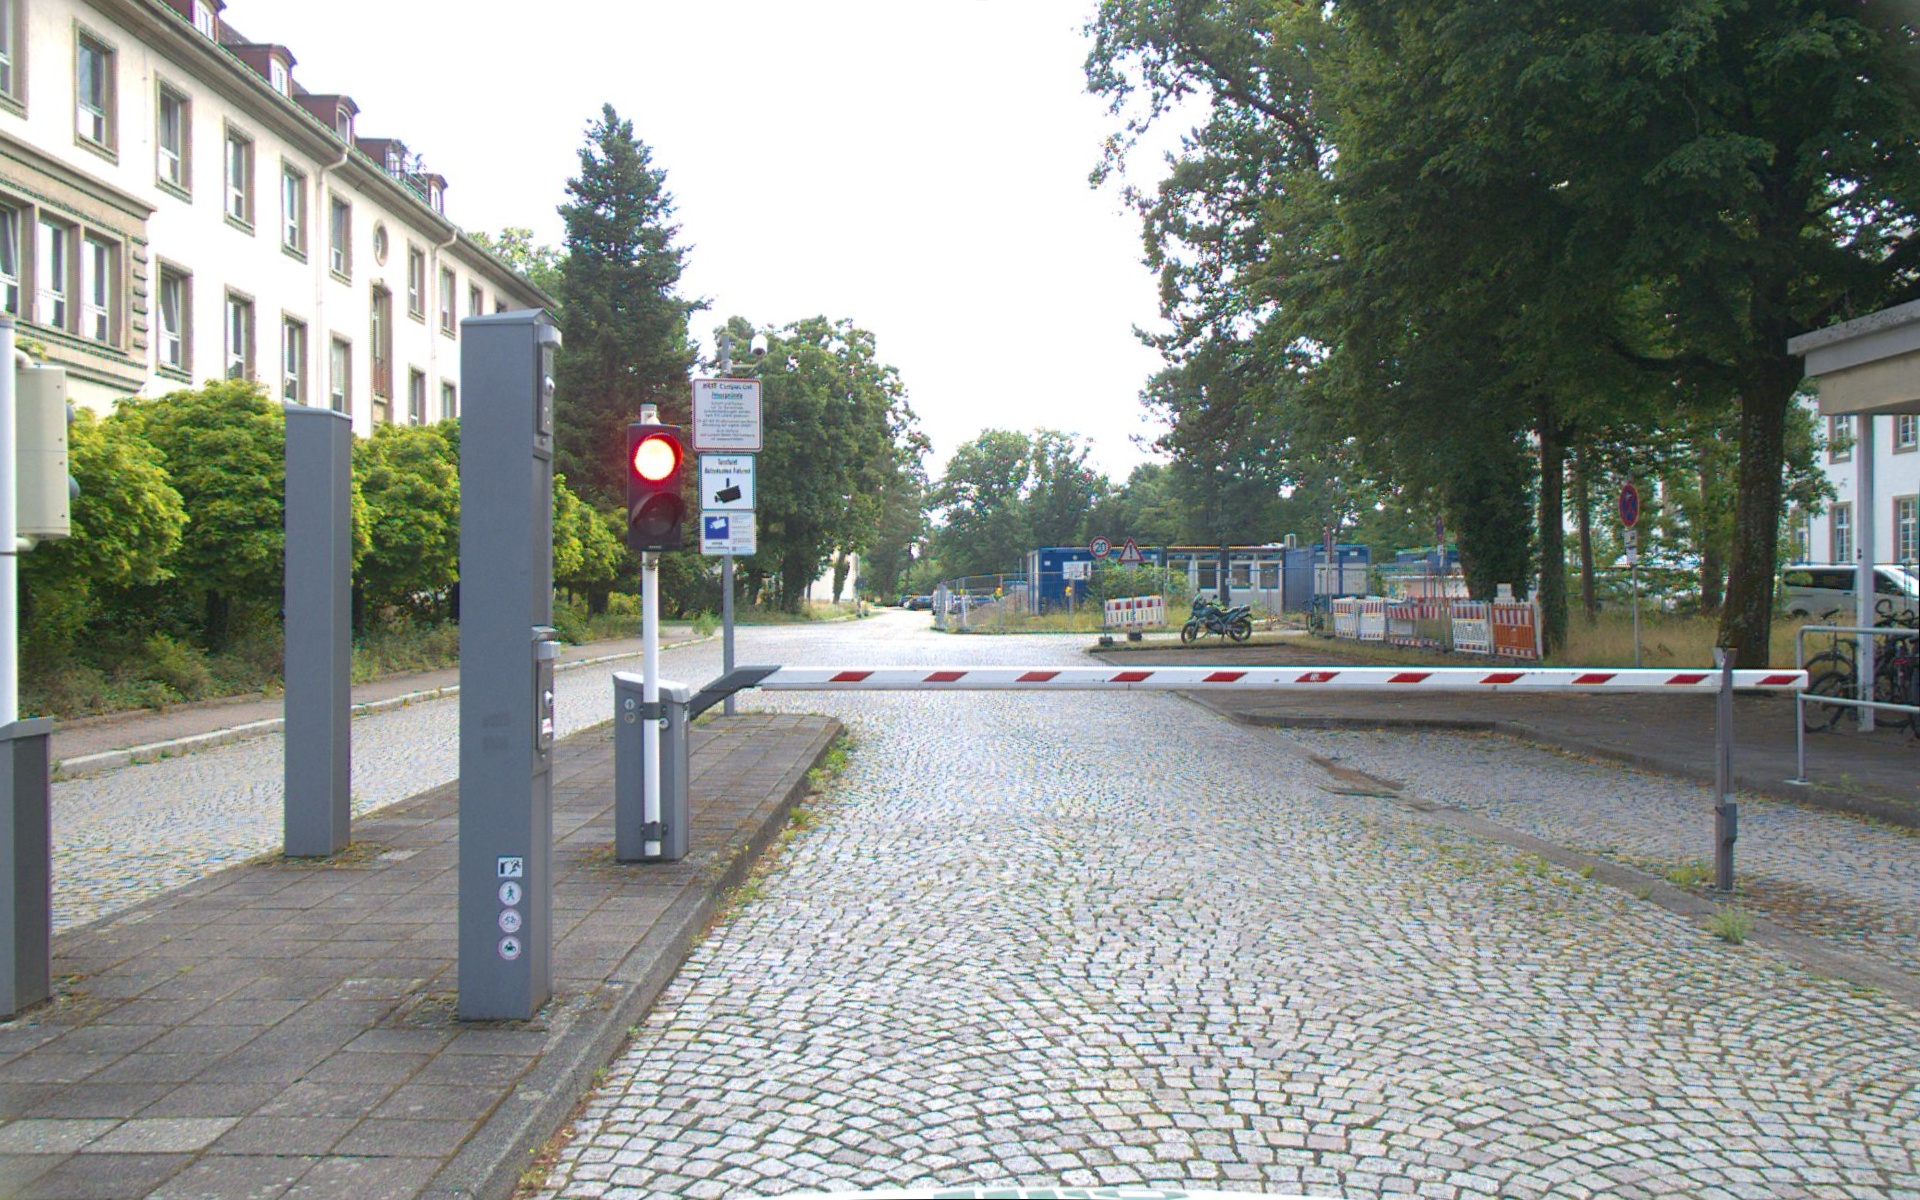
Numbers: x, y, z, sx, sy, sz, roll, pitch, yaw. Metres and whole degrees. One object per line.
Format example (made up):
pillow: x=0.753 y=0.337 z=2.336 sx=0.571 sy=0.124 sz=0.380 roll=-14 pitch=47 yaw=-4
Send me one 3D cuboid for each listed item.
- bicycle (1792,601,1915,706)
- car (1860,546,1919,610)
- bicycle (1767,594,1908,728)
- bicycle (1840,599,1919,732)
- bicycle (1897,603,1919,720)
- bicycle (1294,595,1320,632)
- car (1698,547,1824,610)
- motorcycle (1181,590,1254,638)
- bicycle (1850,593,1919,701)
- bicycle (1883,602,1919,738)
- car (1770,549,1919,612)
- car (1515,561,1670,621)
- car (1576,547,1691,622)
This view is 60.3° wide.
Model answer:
bicycle: x=10.186 y=0.582 z=18.905 sx=0.494 sy=1.105 sz=1.585 roll=-1 pitch=1 yaw=-3
car: x=28.521 y=-0.650 z=47.093 sx=1.971 sy=1.820 sz=4.794 roll=0 pitch=-1 yaw=-28
bicycle: x=8.488 y=0.572 z=15.992 sx=1.359 sy=1.191 sz=0.431 roll=-3 pitch=2 yaw=-23
bicycle: x=8.737 y=0.595 z=15.356 sx=1.366 sy=1.191 sz=0.354 roll=0 pitch=-2 yaw=-34
bicycle: x=9.799 y=0.575 z=15.528 sx=0.439 sy=1.138 sz=1.784 roll=0 pitch=-1 yaw=-26
bicycle: x=9.987 y=0.390 z=47.589 sx=0.325 sy=1.025 sz=1.725 roll=-1 pitch=-2 yaw=-1
car: x=27.600 y=-0.718 z=57.178 sx=1.953 sy=2.049 sz=4.839 roll=-1 pitch=0 yaw=-1
motorcycle: x=7.155 y=0.392 z=45.971 sx=1.917 sy=1.215 sz=0.461 roll=-2 pitch=5 yaw=-3
bicycle: x=10.831 y=0.533 z=18.818 sx=0.494 sy=1.191 sz=1.554 roll=-1 pitch=-2 yaw=-1
bicycle: x=8.924 y=0.622 z=14.997 sx=1.366 sy=1.191 sz=0.354 roll=0 pitch=-2 yaw=-34
car: x=25.730 y=-0.503 z=46.849 sx=1.971 sy=1.679 sz=4.794 roll=0 pitch=-1 yaw=-28
car: x=20.015 y=-0.265 z=52.463 sx=4.132 sy=1.852 sz=2.000 roll=0 pitch=-1 yaw=1
car: x=23.164 y=-0.482 z=57.093 sx=1.952 sy=2.466 sz=5.358 roll=0 pitch=-1 yaw=2
